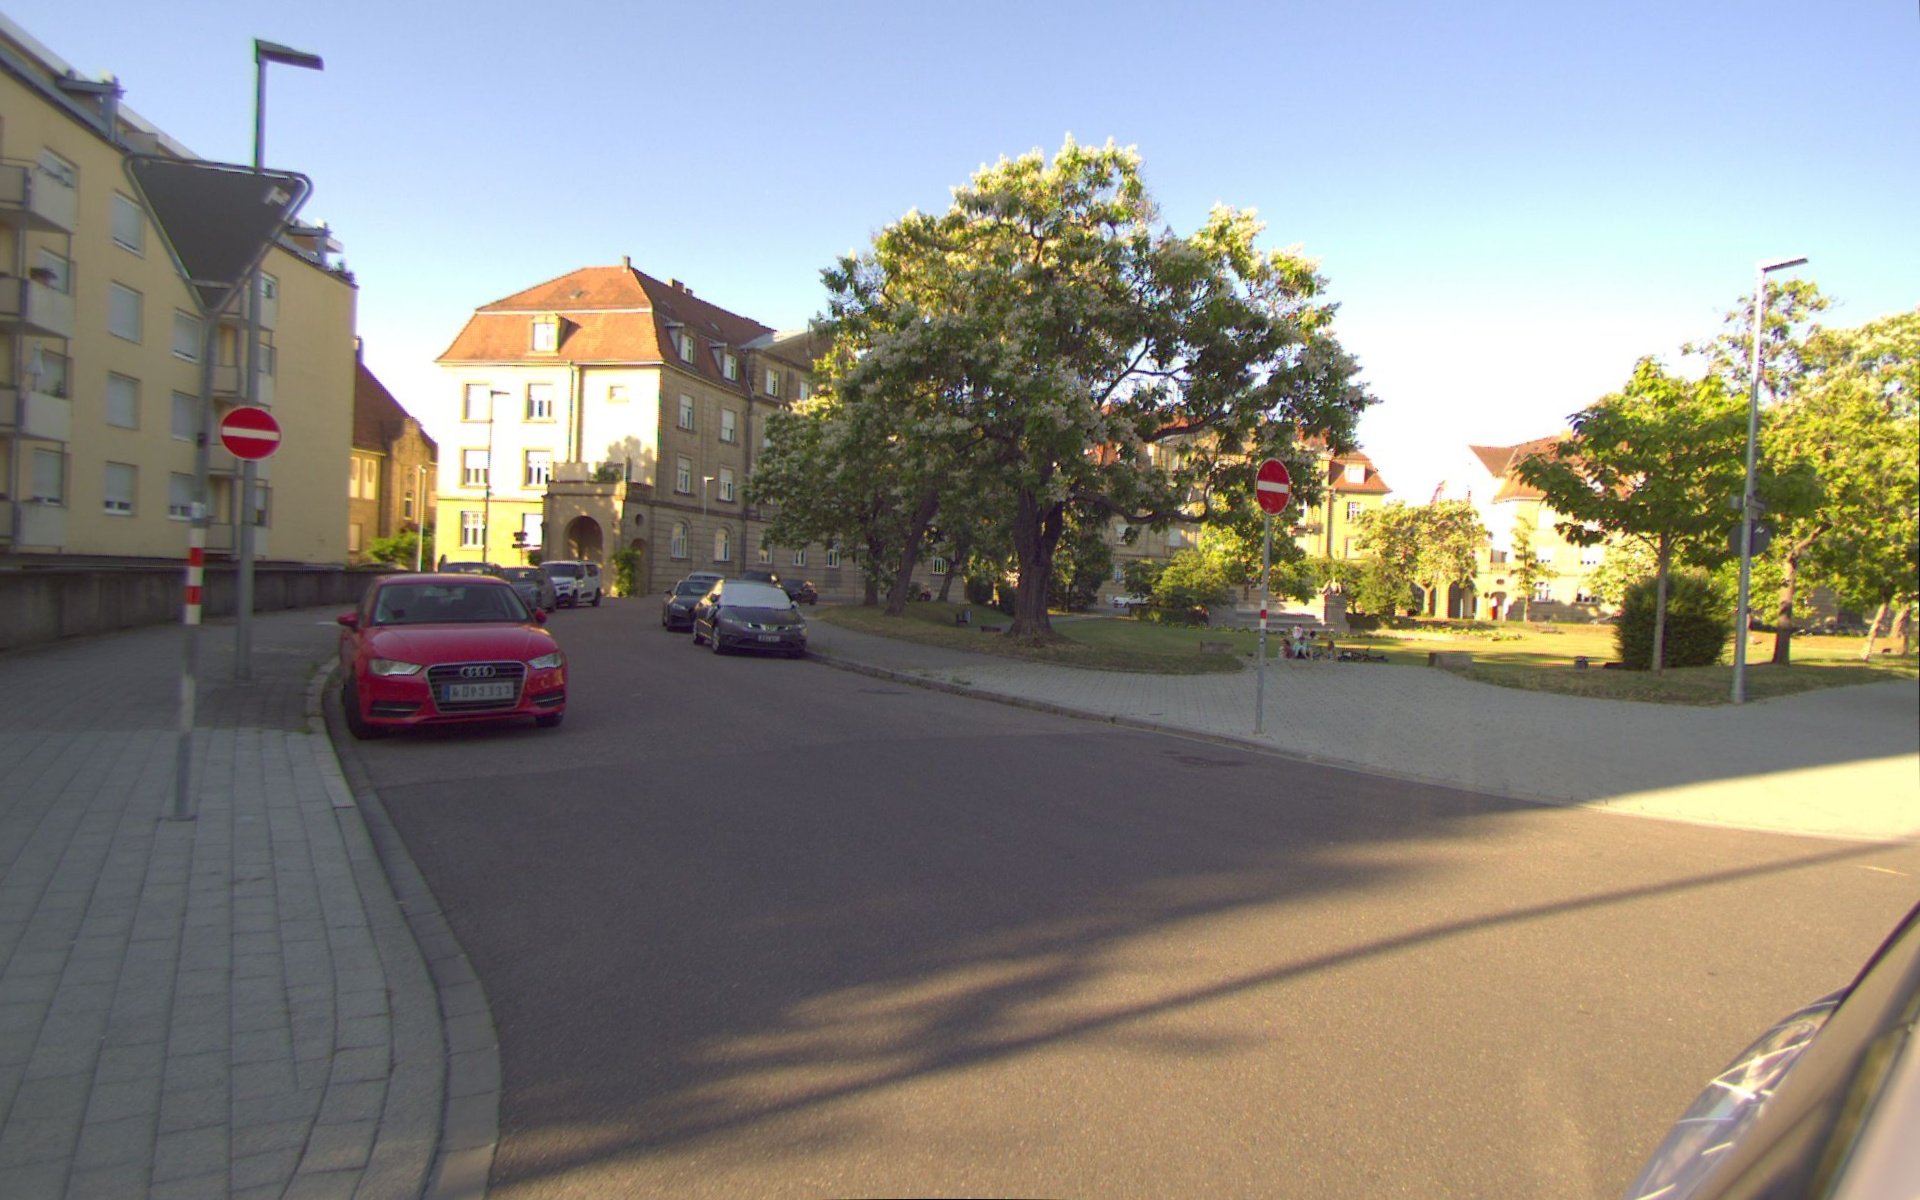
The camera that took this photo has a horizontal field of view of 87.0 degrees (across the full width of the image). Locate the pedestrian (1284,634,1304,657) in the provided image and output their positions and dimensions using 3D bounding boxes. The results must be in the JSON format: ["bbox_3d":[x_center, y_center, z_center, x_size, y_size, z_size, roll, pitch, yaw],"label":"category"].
[{"bbox_3d":[11.494,1.566,34.849,0.447,0.756,0.497,2,0,-43],"label":"pedestrian"}]

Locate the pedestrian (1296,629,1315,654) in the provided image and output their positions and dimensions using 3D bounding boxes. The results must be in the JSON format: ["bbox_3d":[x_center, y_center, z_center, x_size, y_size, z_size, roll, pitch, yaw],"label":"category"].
[{"bbox_3d":[12.599,1.512,36.942,0.488,0.845,0.455,2,0,-6],"label":"pedestrian"}]

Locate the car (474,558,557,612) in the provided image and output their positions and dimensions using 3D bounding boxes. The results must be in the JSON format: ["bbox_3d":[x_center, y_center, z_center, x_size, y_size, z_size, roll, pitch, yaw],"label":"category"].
[{"bbox_3d":[-14.159,-0.499,32.438,1.671,1.596,4.055,0,1,-12],"label":"car"}]

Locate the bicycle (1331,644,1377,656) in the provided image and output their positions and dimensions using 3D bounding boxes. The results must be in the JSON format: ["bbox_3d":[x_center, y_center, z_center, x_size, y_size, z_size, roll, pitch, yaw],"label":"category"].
[{"bbox_3d":[14.407,1.824,36.987,1.896,0.387,0.659,2,1,-37],"label":"bicycle"}]

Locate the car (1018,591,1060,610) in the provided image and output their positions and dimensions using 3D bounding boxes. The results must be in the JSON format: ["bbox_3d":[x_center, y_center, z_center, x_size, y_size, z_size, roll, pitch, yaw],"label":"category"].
[{"bbox_3d":[6.987,0.058,89.249,1.768,1.603,3.943,2,0,39],"label":"car"}]

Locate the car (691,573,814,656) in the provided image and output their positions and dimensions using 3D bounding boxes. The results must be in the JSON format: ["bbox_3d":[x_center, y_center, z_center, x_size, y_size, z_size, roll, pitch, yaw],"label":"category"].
[{"bbox_3d":[-4.325,0.253,20.641,1.690,1.445,4.008,3,0,-22],"label":"car"}]

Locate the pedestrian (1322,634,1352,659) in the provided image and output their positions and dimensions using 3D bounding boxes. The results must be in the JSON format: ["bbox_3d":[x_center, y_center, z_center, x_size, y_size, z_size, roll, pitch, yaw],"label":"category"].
[{"bbox_3d":[12.979,1.602,34.842,0.795,0.774,0.498,3,0,1],"label":"pedestrian"}]

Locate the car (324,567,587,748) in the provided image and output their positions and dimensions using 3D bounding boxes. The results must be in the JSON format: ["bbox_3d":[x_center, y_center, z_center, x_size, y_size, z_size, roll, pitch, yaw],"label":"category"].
[{"bbox_3d":[-5.234,0.398,10.209,1.756,1.437,4.047,-1,2,-36],"label":"car"}]

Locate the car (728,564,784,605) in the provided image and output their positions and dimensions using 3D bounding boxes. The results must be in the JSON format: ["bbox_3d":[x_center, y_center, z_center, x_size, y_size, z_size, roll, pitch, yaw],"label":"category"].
[{"bbox_3d":[-9.677,-0.721,48.258,1.695,1.779,3.702,3,0,2],"label":"car"}]

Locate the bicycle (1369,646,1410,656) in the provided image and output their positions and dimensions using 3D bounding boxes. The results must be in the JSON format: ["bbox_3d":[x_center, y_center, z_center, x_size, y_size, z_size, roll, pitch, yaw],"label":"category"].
[{"bbox_3d":[16.194,1.923,38.164,1.671,0.323,0.659,2,1,-37],"label":"bicycle"}]

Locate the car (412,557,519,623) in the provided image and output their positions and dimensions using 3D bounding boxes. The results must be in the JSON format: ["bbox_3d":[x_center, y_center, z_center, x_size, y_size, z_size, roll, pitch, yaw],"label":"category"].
[{"bbox_3d":[-12.823,-0.302,26.485,1.671,1.596,4.056,0,1,-13],"label":"car"}]

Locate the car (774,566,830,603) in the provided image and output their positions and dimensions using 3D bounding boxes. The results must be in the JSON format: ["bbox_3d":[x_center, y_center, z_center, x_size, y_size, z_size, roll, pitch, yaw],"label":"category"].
[{"bbox_3d":[-8.455,-0.810,54.417,1.700,1.779,3.690,3,-1,12],"label":"car"}]

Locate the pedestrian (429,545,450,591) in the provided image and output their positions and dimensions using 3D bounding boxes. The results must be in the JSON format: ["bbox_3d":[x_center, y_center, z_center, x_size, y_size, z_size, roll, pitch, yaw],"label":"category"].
[{"bbox_3d":[-18.507,-1.134,35.967,0.496,1.612,0.527,2,0,-10],"label":"pedestrian"}]

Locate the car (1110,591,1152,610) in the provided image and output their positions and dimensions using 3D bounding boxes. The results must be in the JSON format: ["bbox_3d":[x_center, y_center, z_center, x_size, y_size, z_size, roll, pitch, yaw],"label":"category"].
[{"bbox_3d":[16.055,0.075,95.027,3.631,1.518,1.728,3,-1,-32],"label":"car"}]

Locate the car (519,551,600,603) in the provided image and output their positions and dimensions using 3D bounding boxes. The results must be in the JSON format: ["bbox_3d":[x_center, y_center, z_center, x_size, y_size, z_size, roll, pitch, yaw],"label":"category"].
[{"bbox_3d":[-15.215,-0.847,38.686,1.673,1.818,4.050,2,0,-4],"label":"car"}]

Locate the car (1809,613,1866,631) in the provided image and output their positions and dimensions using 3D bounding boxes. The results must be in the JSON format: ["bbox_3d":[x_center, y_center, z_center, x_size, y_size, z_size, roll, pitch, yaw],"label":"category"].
[{"bbox_3d":[80.849,1.998,93.281,3.678,1.518,1.705,2,0,34],"label":"car"}]

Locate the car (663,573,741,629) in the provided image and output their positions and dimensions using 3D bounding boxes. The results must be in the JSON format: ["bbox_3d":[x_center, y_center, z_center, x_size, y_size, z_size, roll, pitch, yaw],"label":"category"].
[{"bbox_3d":[-6.972,0.008,27.165,1.690,1.313,3.712,3,0,-18],"label":"car"}]

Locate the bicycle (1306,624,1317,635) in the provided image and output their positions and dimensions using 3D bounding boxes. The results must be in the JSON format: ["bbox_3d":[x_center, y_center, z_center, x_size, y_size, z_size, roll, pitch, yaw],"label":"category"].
[{"bbox_3d":[19.350,1.607,55.704,0.480,0.590,0.437,2,0,12],"label":"bicycle"}]

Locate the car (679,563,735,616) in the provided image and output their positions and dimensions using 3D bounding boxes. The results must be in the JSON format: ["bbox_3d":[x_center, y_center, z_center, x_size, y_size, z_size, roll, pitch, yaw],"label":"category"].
[{"bbox_3d":[-8.791,-0.352,35.348,1.690,1.648,3.711,3,0,-12],"label":"car"}]

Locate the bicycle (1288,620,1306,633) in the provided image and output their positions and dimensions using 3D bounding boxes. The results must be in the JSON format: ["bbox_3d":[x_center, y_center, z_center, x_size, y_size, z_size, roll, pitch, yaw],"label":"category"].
[{"bbox_3d":[18.608,1.470,55.859,0.891,0.660,0.437,2,0,13],"label":"bicycle"}]
